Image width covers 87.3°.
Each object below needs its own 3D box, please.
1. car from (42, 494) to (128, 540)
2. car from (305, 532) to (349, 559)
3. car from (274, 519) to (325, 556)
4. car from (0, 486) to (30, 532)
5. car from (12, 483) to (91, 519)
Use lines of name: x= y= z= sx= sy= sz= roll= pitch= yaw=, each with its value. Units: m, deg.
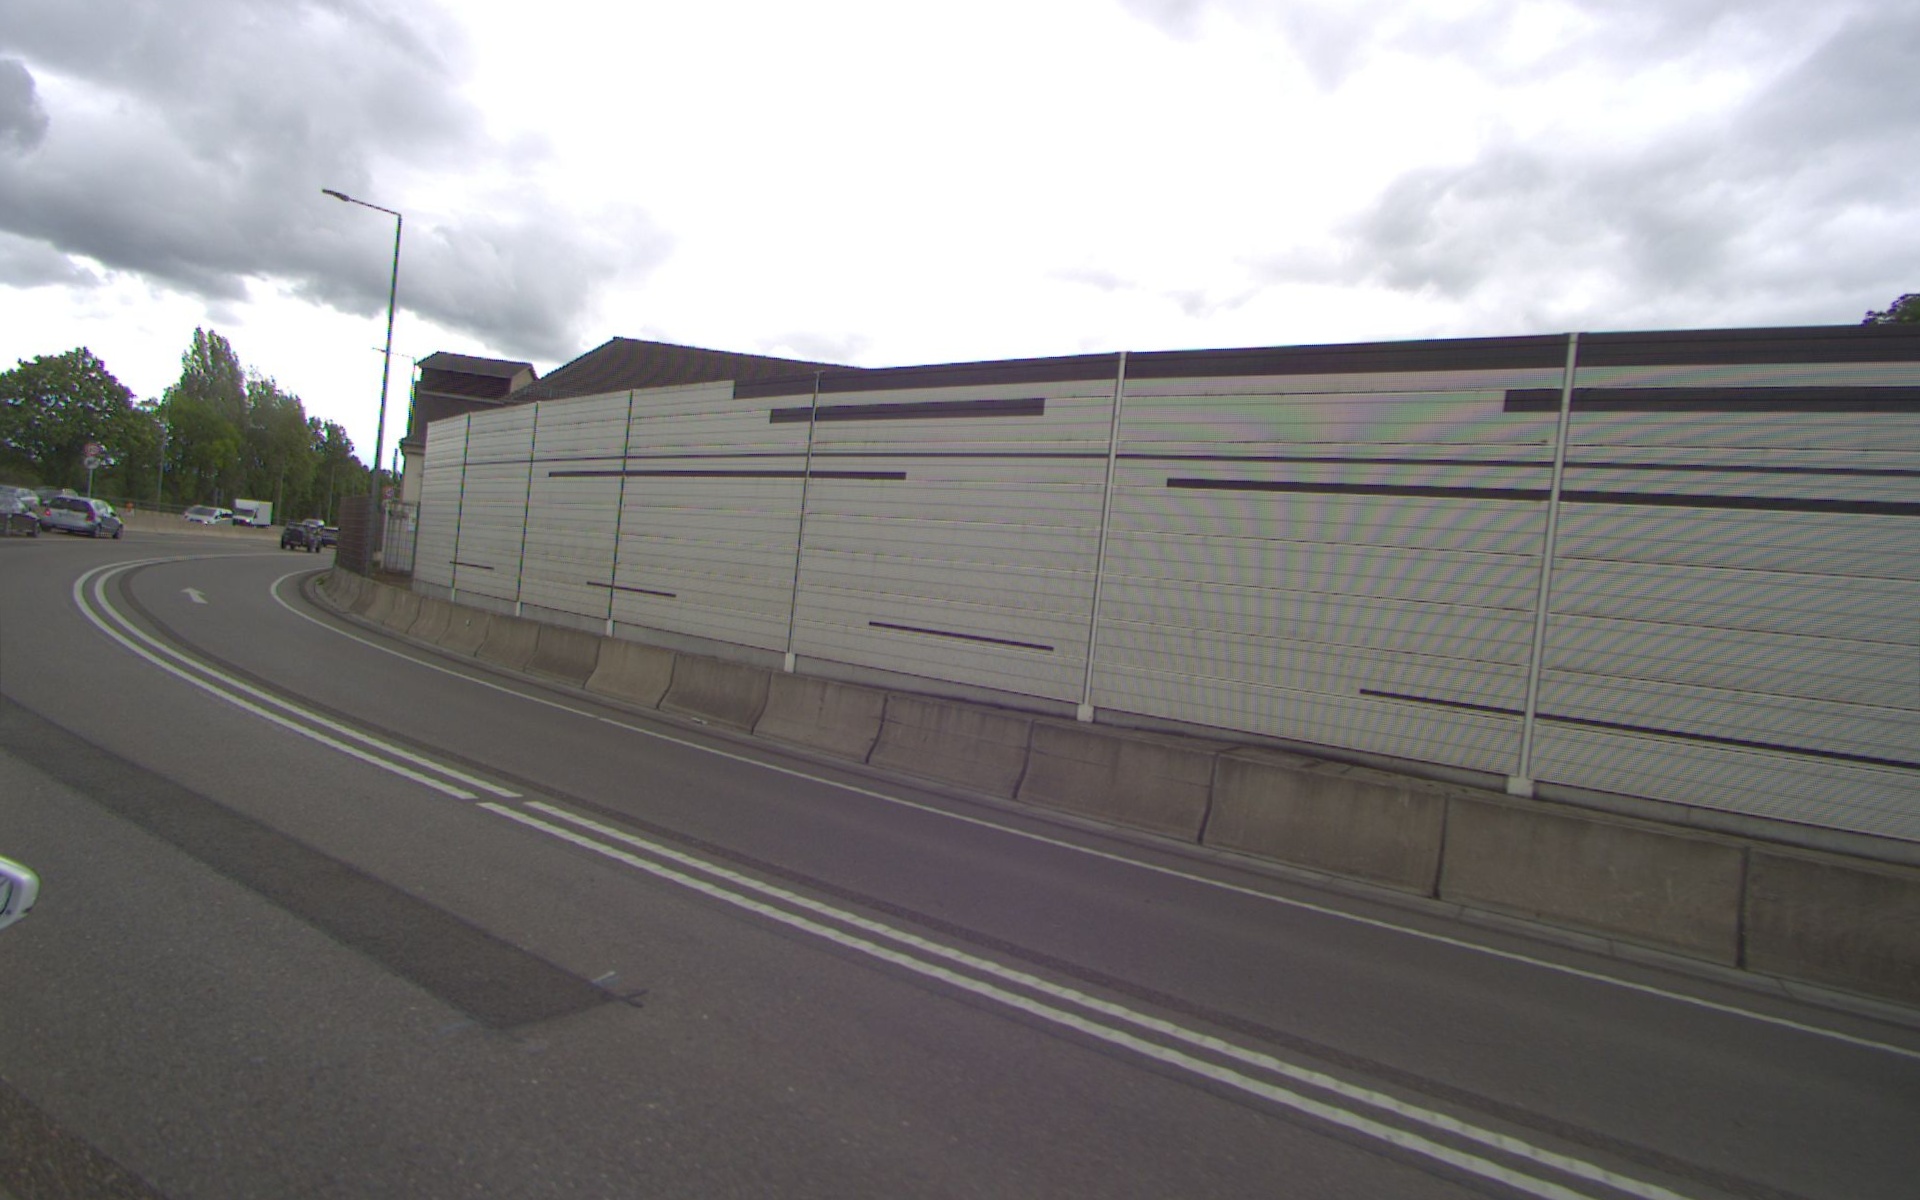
car: x=-35.999 y=-3.382 z=41.496 sx=1.908 sy=1.507 sz=4.031 roll=8 pitch=-1 yaw=-32
car: x=-50.367 y=-4.280 z=80.099 sx=1.972 sy=1.692 sz=3.984 roll=9 pitch=-2 yaw=-19
car: x=-40.966 y=-3.838 z=62.457 sx=1.975 sy=1.882 sz=3.975 roll=7 pitch=-1 yaw=-26
car: x=-31.787 y=-3.031 z=32.446 sx=1.802 sy=1.452 sz=4.030 roll=6 pitch=0 yaw=-32
car: x=-58.806 y=-6.359 z=65.204 sx=1.973 sy=1.691 sz=4.708 roll=9 pitch=-2 yaw=-19
